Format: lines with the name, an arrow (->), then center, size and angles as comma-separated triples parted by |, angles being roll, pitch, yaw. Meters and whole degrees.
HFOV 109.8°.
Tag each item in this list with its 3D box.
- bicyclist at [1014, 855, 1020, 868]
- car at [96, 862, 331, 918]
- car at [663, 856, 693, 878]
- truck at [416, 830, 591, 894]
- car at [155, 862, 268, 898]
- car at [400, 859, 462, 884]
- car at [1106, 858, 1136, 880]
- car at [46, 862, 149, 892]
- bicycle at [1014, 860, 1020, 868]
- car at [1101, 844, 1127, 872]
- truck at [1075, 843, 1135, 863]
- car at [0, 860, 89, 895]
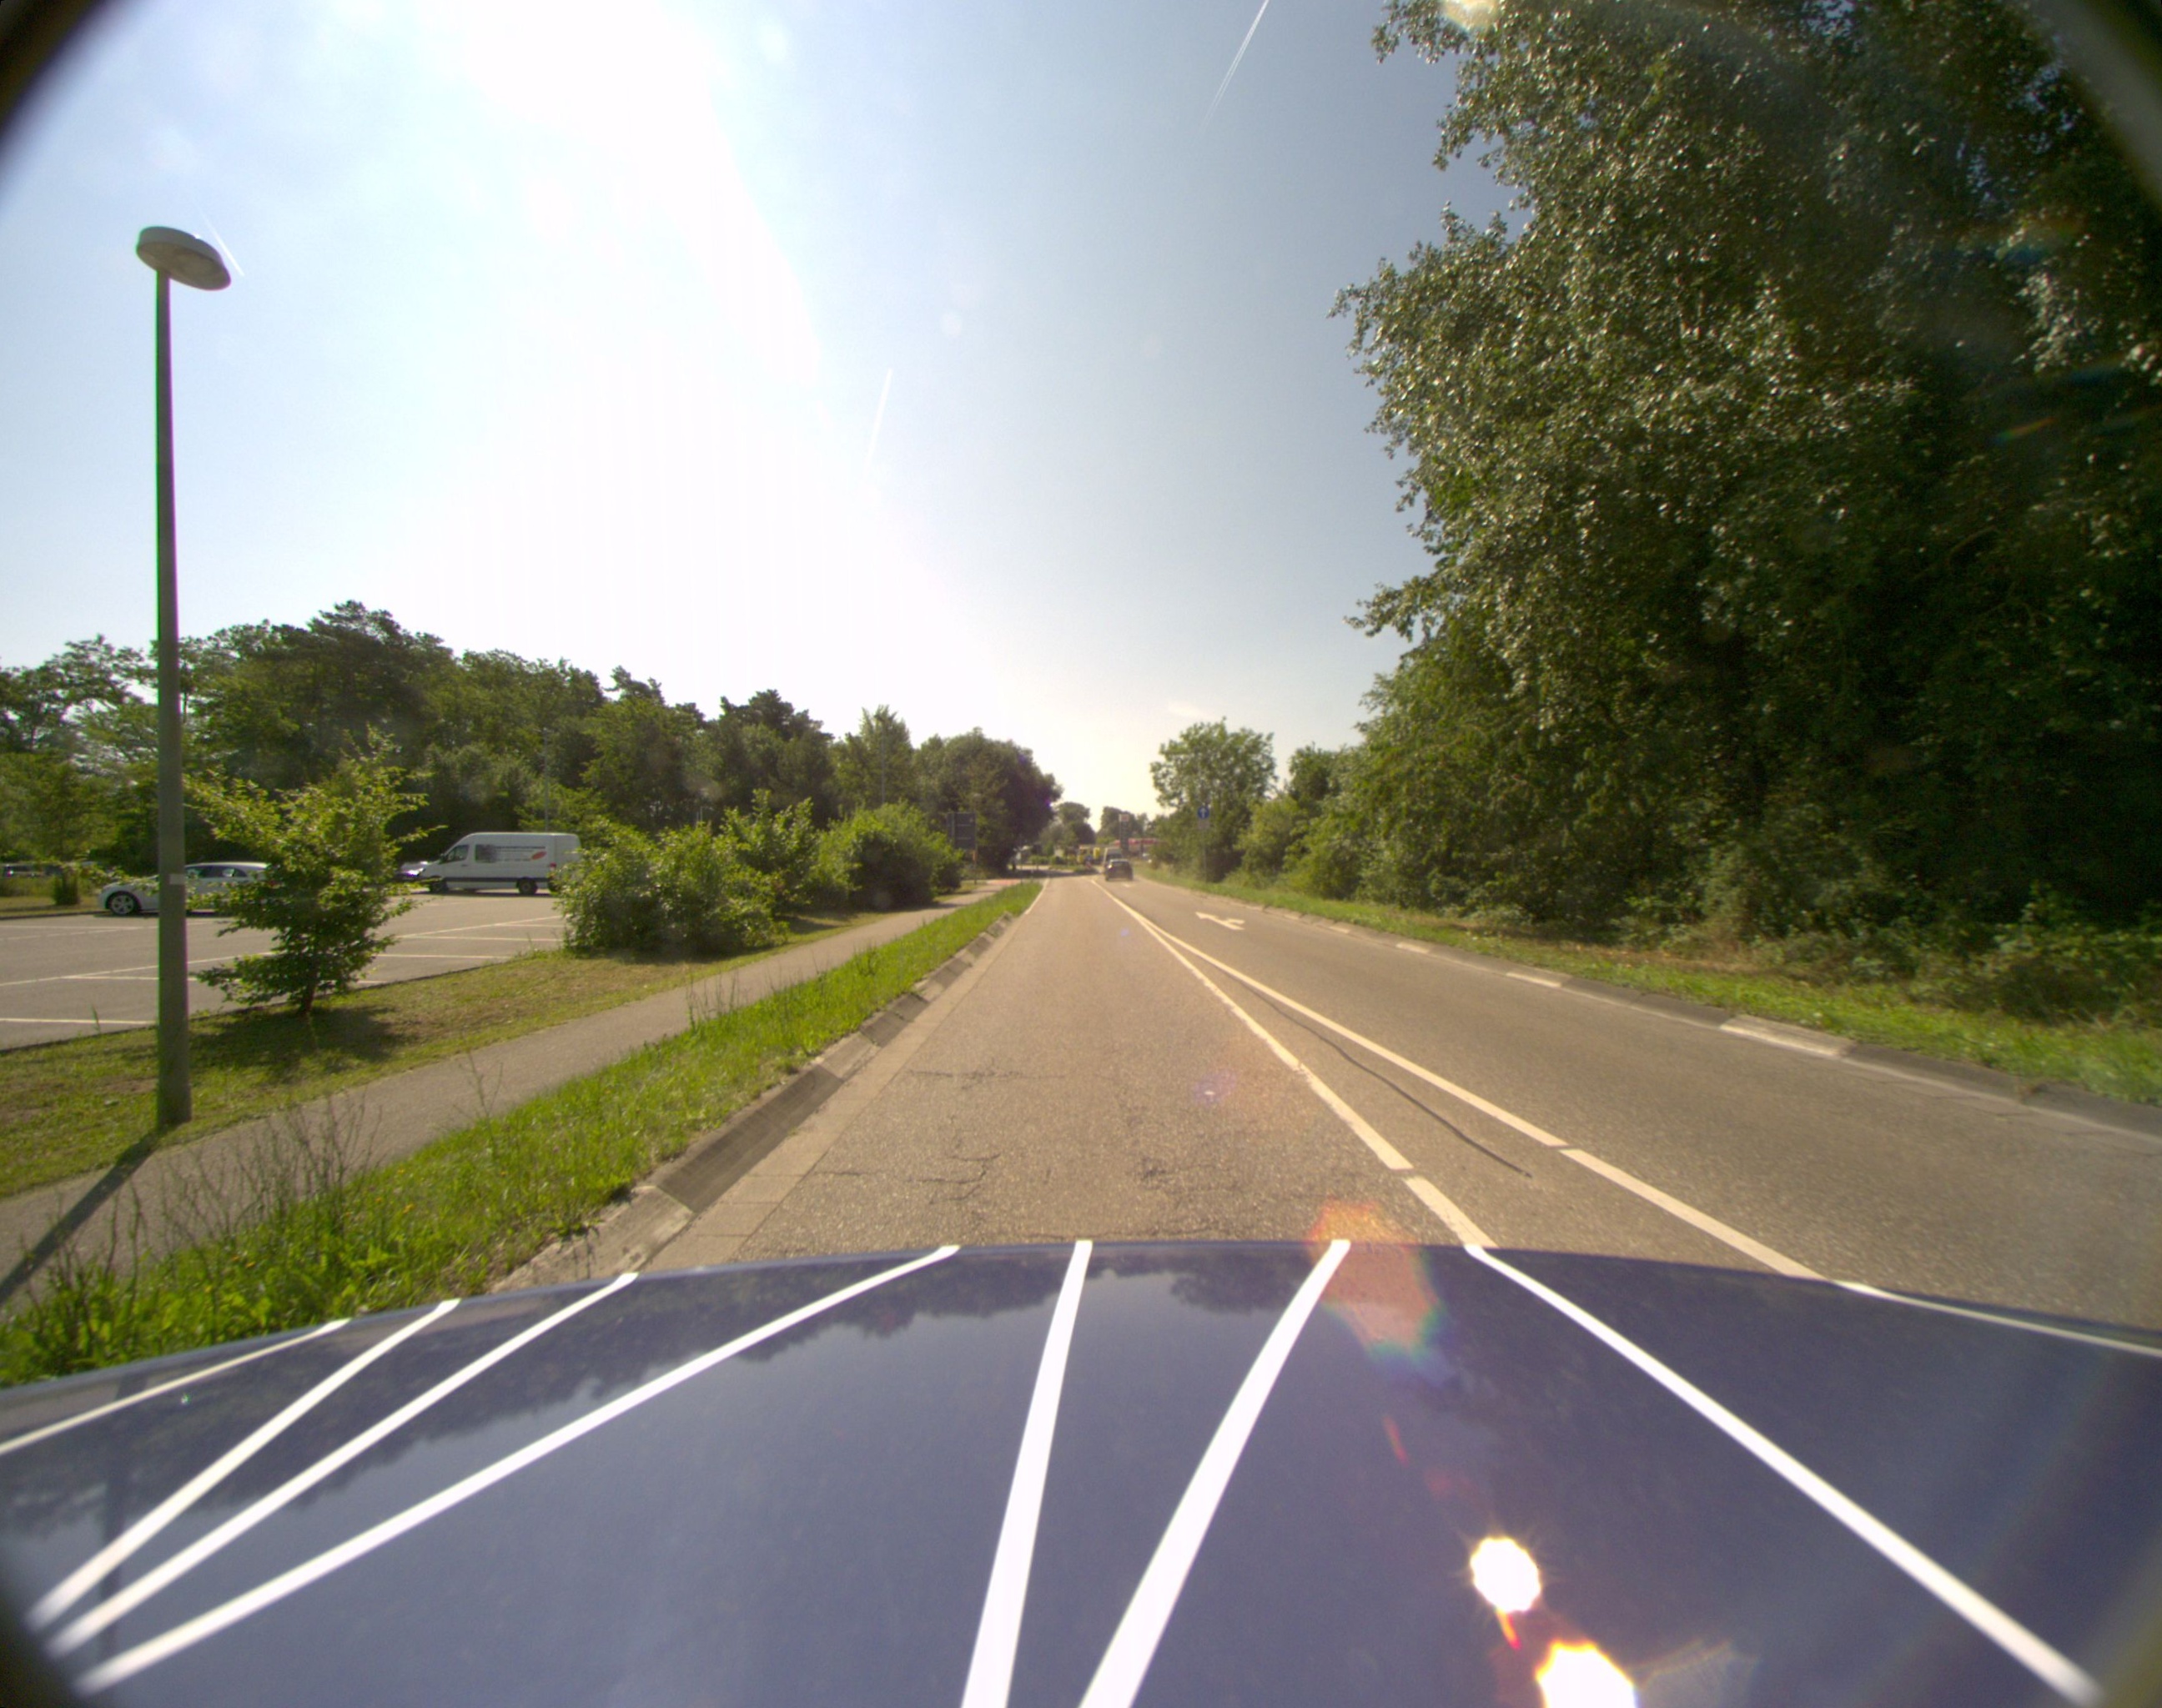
bicyclist -> -8.952, 1.075, 106.399 | 0.638, 1.720, 0.978 | -2, 1, 0
car -> -24.083, 0.964, 21.263 | 3.975, 1.444, 1.903 | 0, 0, -11
car -> -28.696, 0.898, 54.138 | 1.762, 1.522, 4.364 | 0, 0, -28
truck -> -24.144, 0.334, 31.939 | 5.614, 2.590, 2.203 | 0, 0, -2
car -> -38.395, 1.100, 33.704 | 2.003, 1.457, 4.483 | 0, 0, -31
car -> -40.745, 1.050, 47.746 | 2.074, 1.477, 3.991 | 0, 0, -27
car -> 2.653, 0.975, 51.461 | 1.703, 1.381, 4.293 | -1, 0, -2
car -> -53.188, 1.215, 41.221 | 1.665, 1.477, 4.363 | 0, 0, -27
bicycle -> -8.957, 1.385, 106.309 | 0.592, 1.117, 1.520 | -2, 0, 0
car -> 2.925, 0.334, 68.599 | 1.917, 2.386, 4.909 | -1, 0, -2
truck -> 4.257, -0.161, 134.465 | 10.335, 3.374, 3.883 | 0, 0, -3
car -> -55.569, 1.198, 40.264 | 2.074, 1.701, 3.991 | 0, 0, -27
